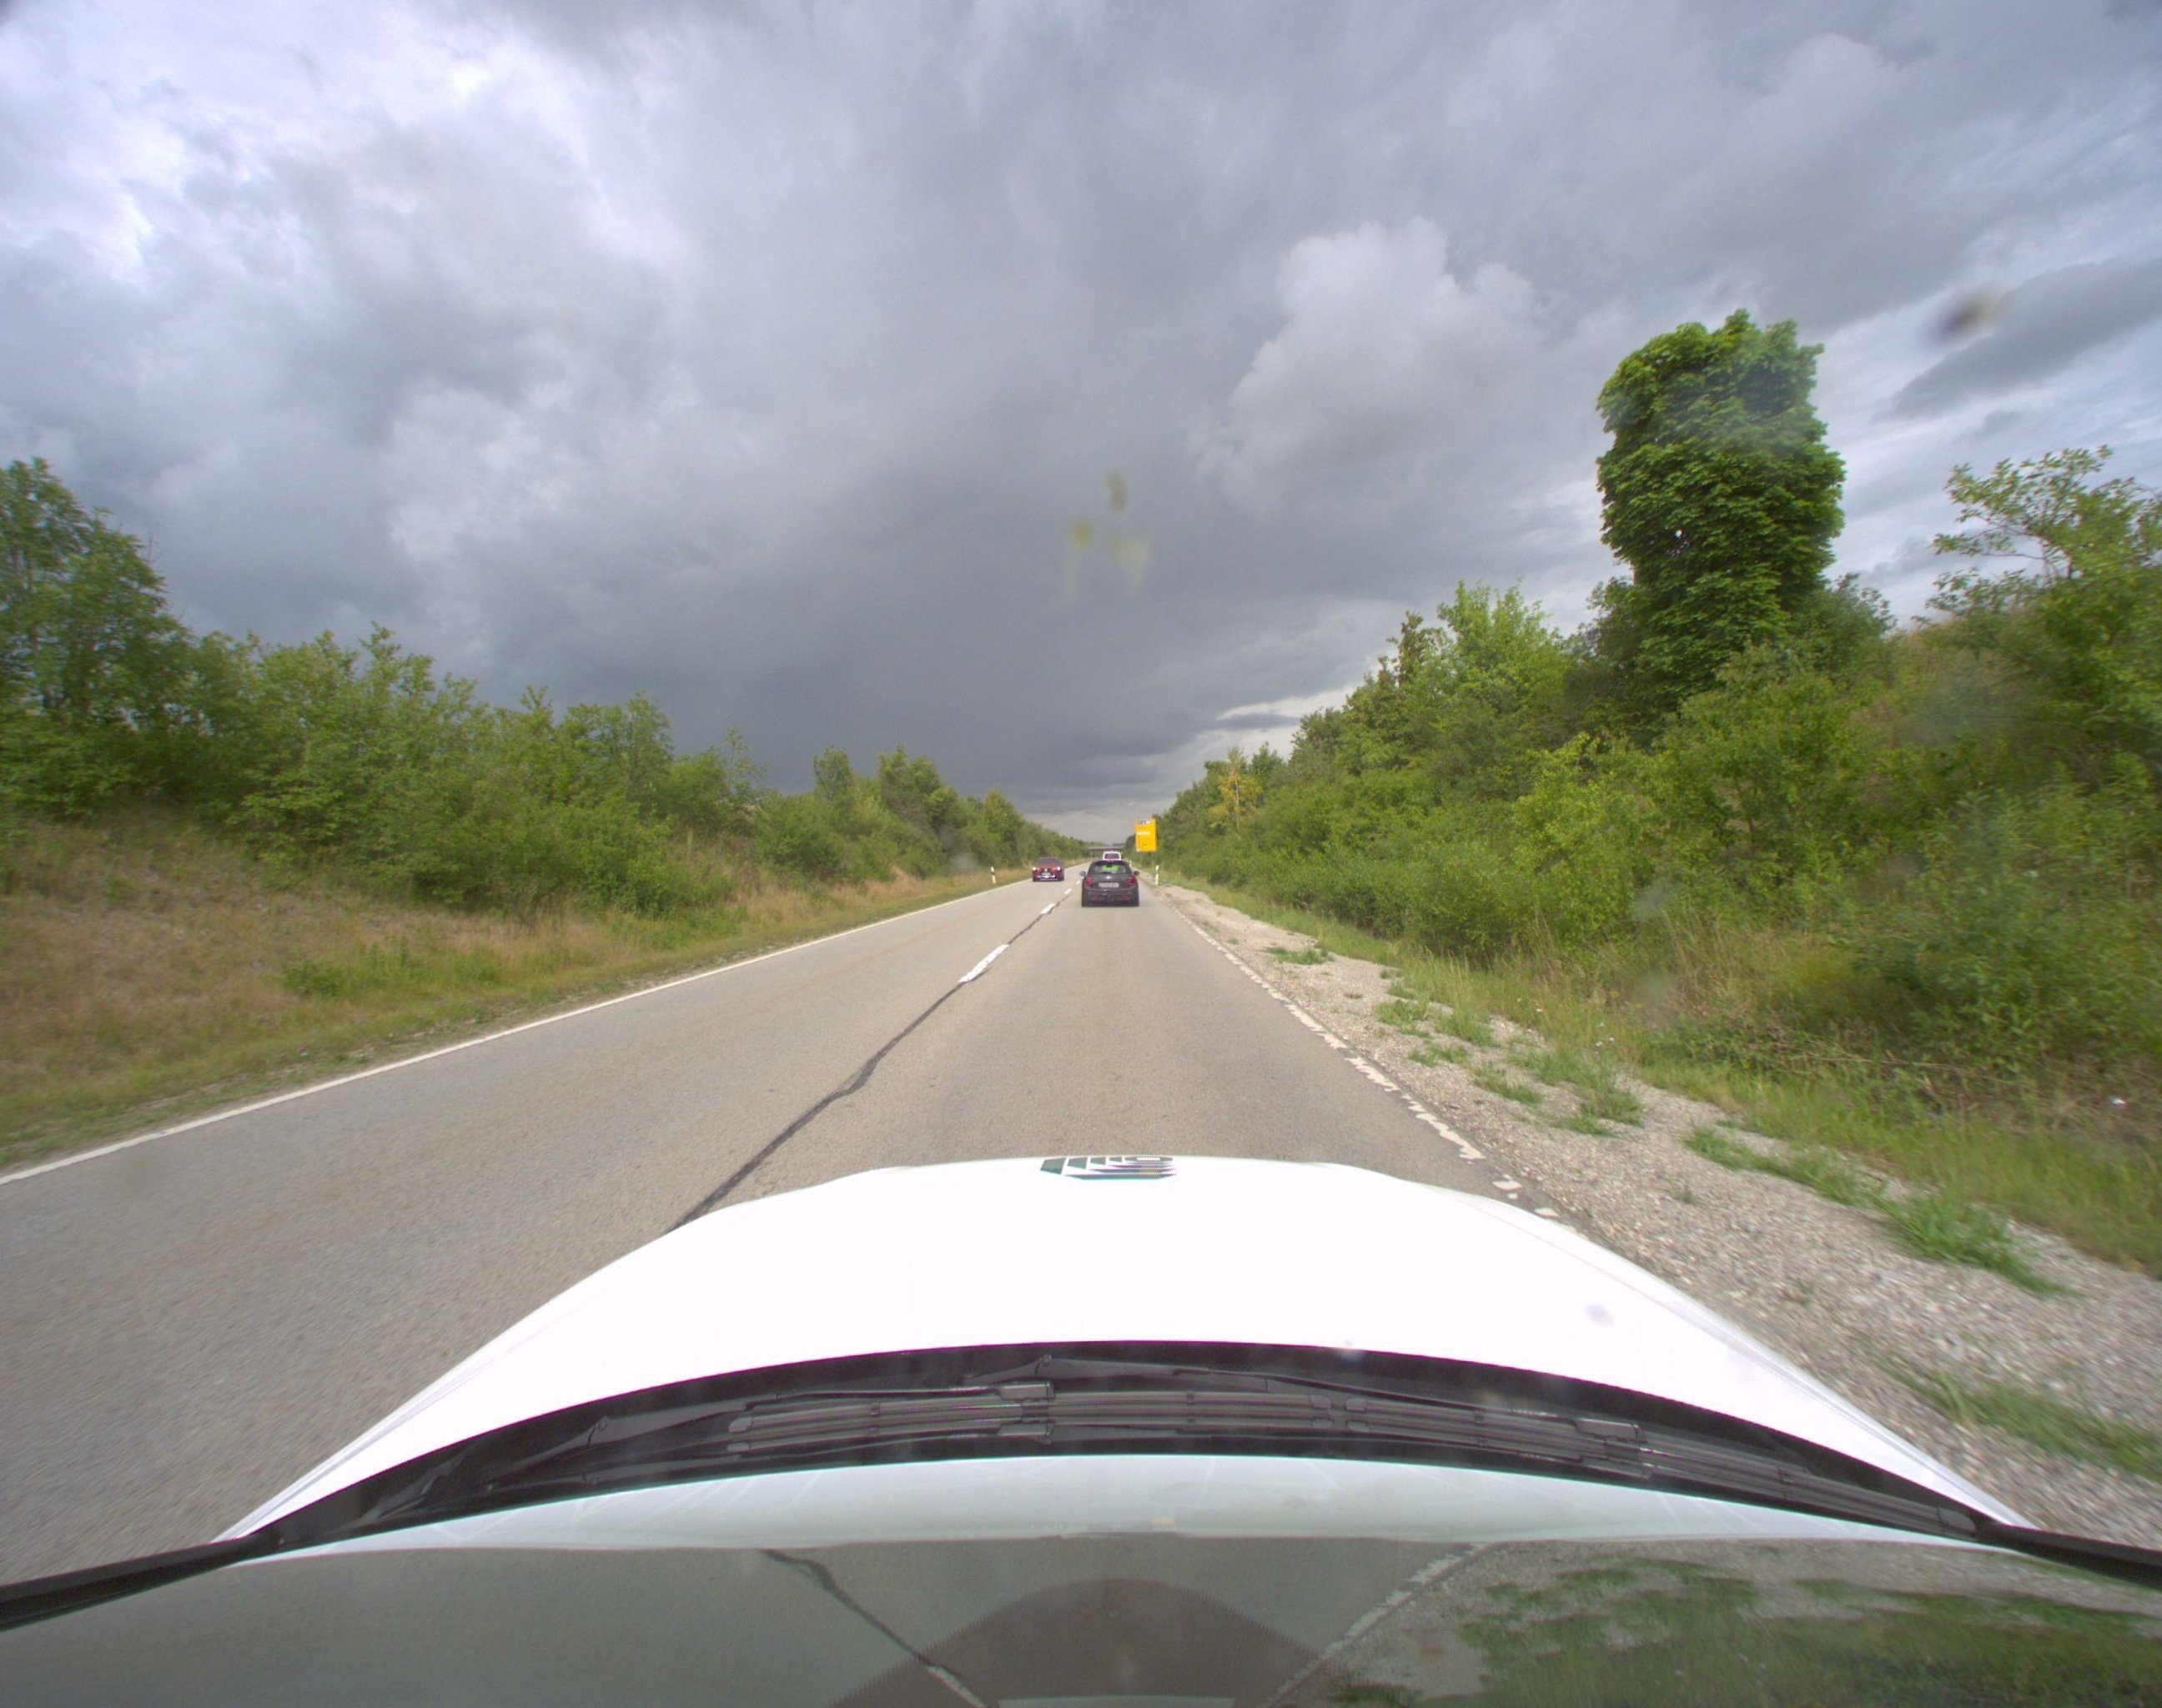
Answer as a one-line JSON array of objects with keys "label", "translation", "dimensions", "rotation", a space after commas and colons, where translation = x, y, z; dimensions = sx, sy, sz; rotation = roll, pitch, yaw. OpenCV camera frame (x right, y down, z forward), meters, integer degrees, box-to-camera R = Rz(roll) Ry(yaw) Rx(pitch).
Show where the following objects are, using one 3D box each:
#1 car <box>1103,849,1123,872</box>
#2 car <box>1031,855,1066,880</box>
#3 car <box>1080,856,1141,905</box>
[{"label": "car", "translation": [2.957, 0.598, 76.545], "dimensions": [1.812, 2.054, 4.001], "rotation": [0, 0, 2]}, {"label": "car", "translation": [-2.011, 0.813, 51.408], "dimensions": [1.822, 1.465, 4.413], "rotation": [-1, 0, 2]}, {"label": "car", "translation": [0.923, 0.780, 25.705], "dimensions": [1.750, 1.427, 4.001], "rotation": [0, 0, 2]}]
